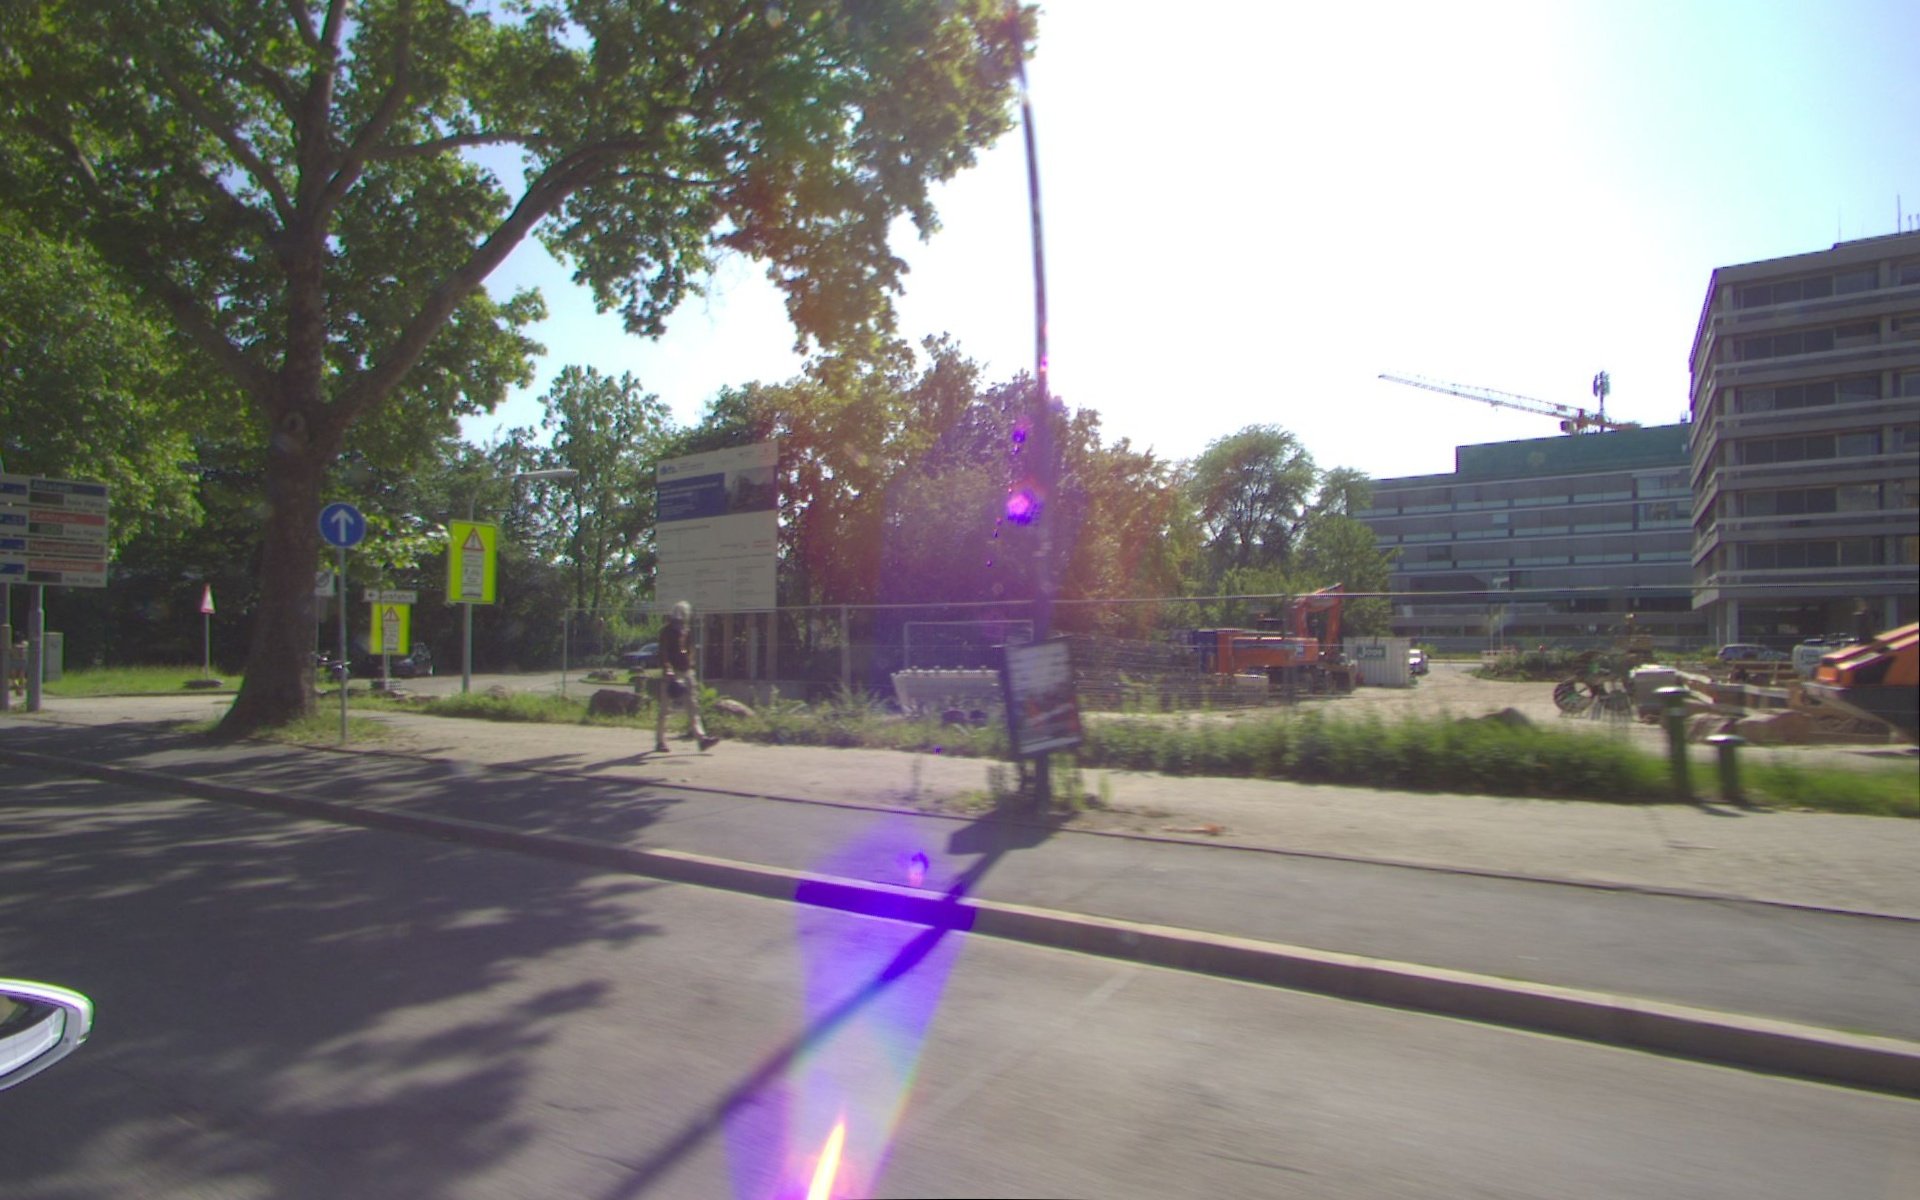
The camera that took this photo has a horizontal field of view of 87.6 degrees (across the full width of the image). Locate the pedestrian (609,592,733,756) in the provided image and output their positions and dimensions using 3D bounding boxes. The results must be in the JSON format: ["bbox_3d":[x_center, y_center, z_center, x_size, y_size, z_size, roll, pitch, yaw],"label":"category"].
[{"bbox_3d":[-3.571,0.892,12.393,1.135,1.916,0.937,-1,-2,32],"label":"pedestrian"}]

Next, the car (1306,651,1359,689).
[{"bbox_3d":[18.251,3.404,48.984,1.787,1.788,3.509,-1,-3,32],"label":"car"}]

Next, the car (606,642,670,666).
[{"bbox_3d":[-20.177,3.385,62.921,1.656,1.472,3.992,-1,-3,23],"label":"car"}]

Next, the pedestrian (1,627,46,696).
[{"bbox_3d":[-24.937,1.625,26.674,0.862,1.807,0.631,-1,-2,32],"label":"pedestrian"}]

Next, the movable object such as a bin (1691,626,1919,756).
[{"bbox_3d":[41.173,3.944,45.080,6.637,5.240,11.764,1,-3,-16],"label":"movable object such as a bin"}]

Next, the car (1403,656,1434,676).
[{"bbox_3d":[29.914,4.299,65.324,1.432,1.268,3.107,-1,-3,32],"label":"car"}]

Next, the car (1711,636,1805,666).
[{"bbox_3d":[49.439,3.134,62.169,4.373,1.794,1.788,-1,-2,33],"label":"car"}]

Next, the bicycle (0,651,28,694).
[{"bbox_3d":[-24.976,1.880,26.249,1.674,1.095,0.349,-1,-2,32],"label":"bicycle"}]

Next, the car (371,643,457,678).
[{"bbox_3d":[-23.776,2.616,43.775,1.651,1.472,4.002,0,-3,-2],"label":"car"}]

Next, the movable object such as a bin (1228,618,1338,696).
[{"bbox_3d":[13.552,2.369,41.800,3.247,3.012,5.170,-1,-3,32],"label":"movable object such as a bin"}]

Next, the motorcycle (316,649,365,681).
[{"bbox_3d":[-19.344,2.032,31.279,0.463,0.979,1.220,0,-2,25],"label":"motorcycle"}]

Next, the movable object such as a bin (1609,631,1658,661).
[{"bbox_3d":[47.253,3.214,70.291,2.629,2.039,2.748,-1,-2,30],"label":"movable object such as a bin"}]

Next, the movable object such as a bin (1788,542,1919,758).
[{"bbox_3d":[16.053,0.749,14.475,5.894,3.110,2.368,-1,-3,29],"label":"movable object such as a bin"}]
